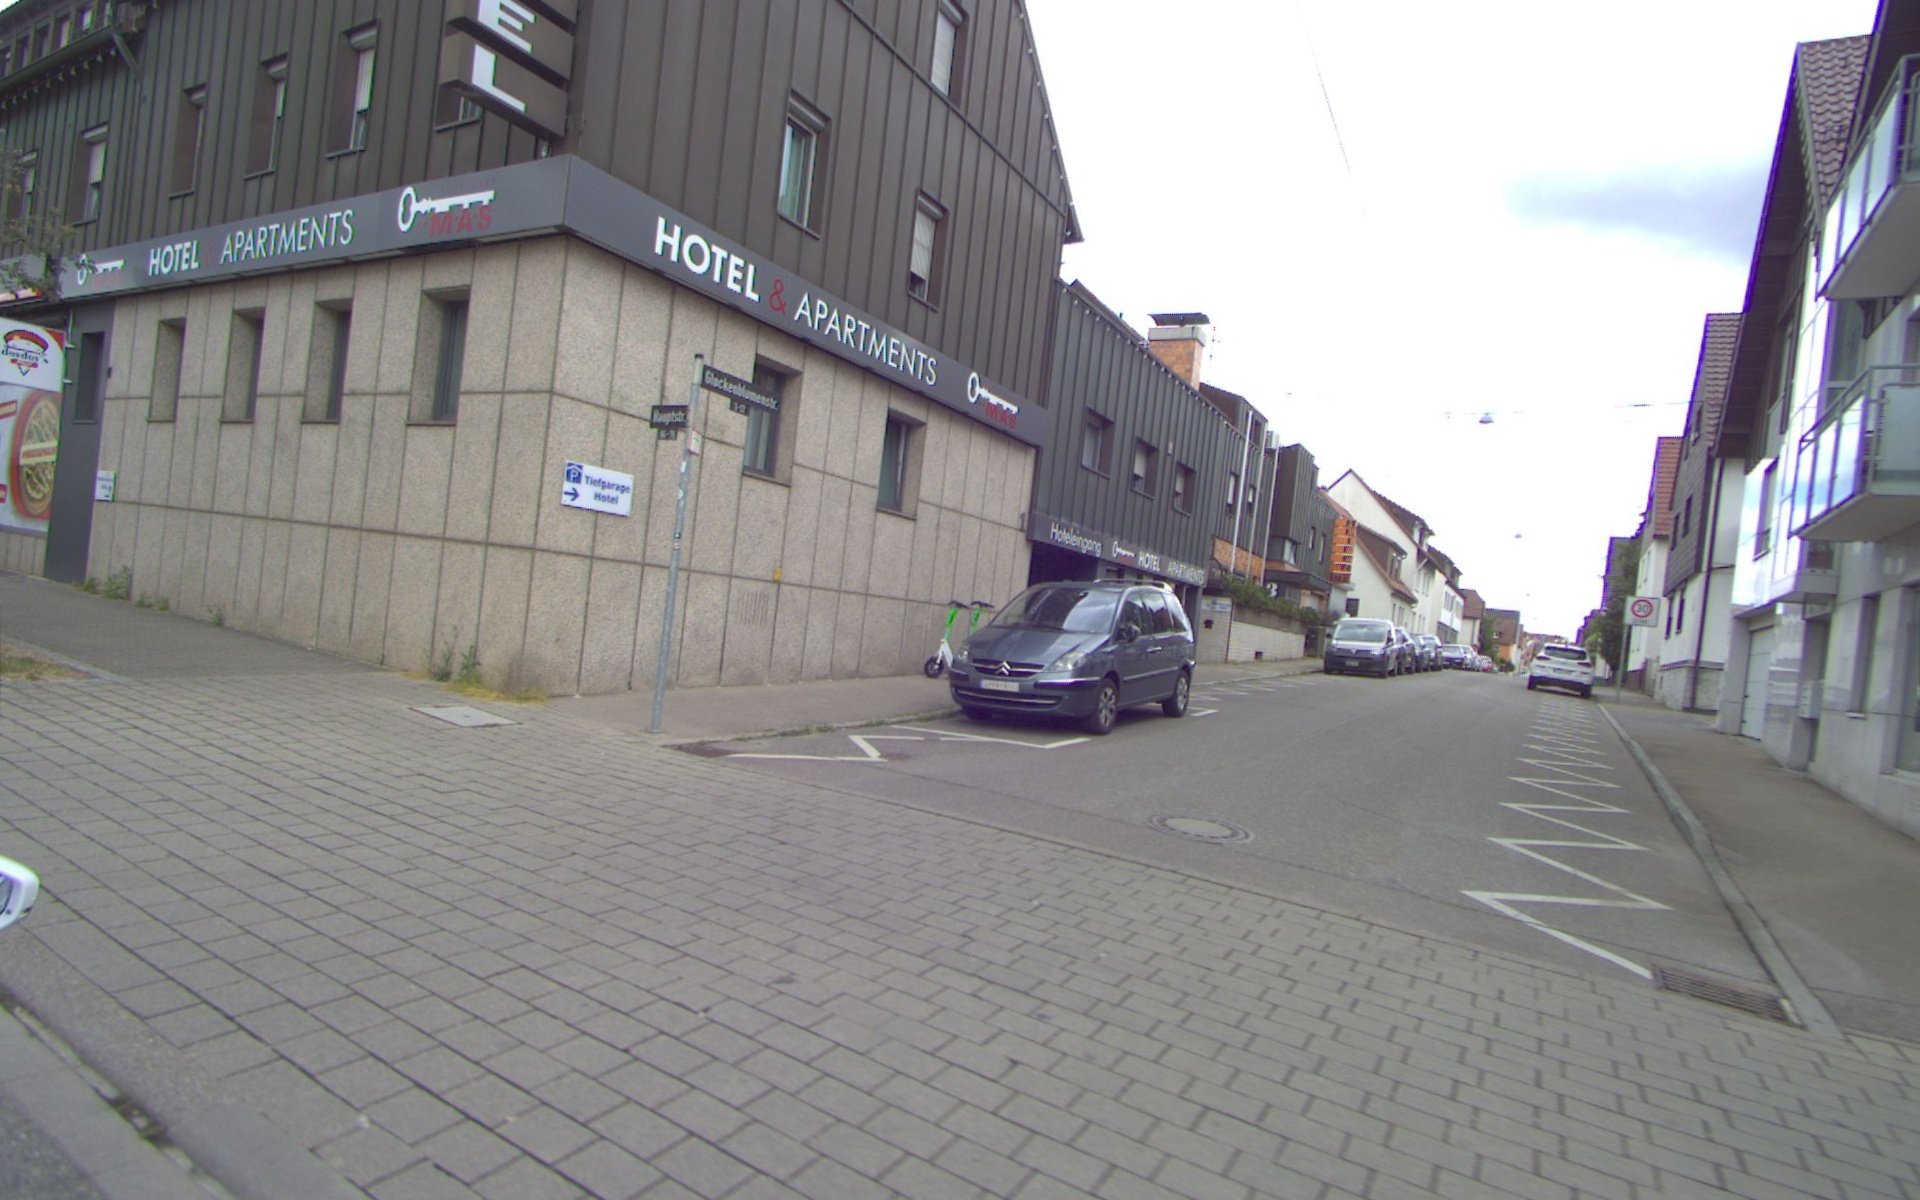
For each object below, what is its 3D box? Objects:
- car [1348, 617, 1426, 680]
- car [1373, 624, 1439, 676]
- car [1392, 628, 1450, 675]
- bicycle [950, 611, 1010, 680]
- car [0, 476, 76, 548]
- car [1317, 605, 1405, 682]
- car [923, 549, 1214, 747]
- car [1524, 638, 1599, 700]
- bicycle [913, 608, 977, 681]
[{"bbox_3d":[15.015,1.742,35.229,1.839,1.792,4.410,7,-2,30],"label":"car"},{"bbox_3d":[17.887,2.046,40.259,1.839,1.663,4.121,7,-2,30],"label":"car"},{"bbox_3d":[20.517,2.308,44.689,1.839,1.663,4.121,7,-2,30],"label":"car"},{"bbox_3d":[0.319,0.706,15.673,0.620,0.986,0.606,7,2,31],"label":"bicycle"},{"bbox_3d":[-24.666,-2.405,24.729,1.660,1.584,3.988,7,-2,32],"label":"car"},{"bbox_3d":[12.374,1.387,30.895,1.839,1.948,3.996,7,-2,29],"label":"car"},{"bbox_3d":[1.588,0.566,12.732,1.897,1.890,4.485,7,1,29],"label":"car"},{"bbox_3d":[20.539,2.391,34.357,1.935,1.724,4.034,7,-2,32],"label":"car"},{"bbox_3d":[-0.223,0.650,14.768,0.620,0.986,0.606,7,2,31],"label":"bicycle"}]
